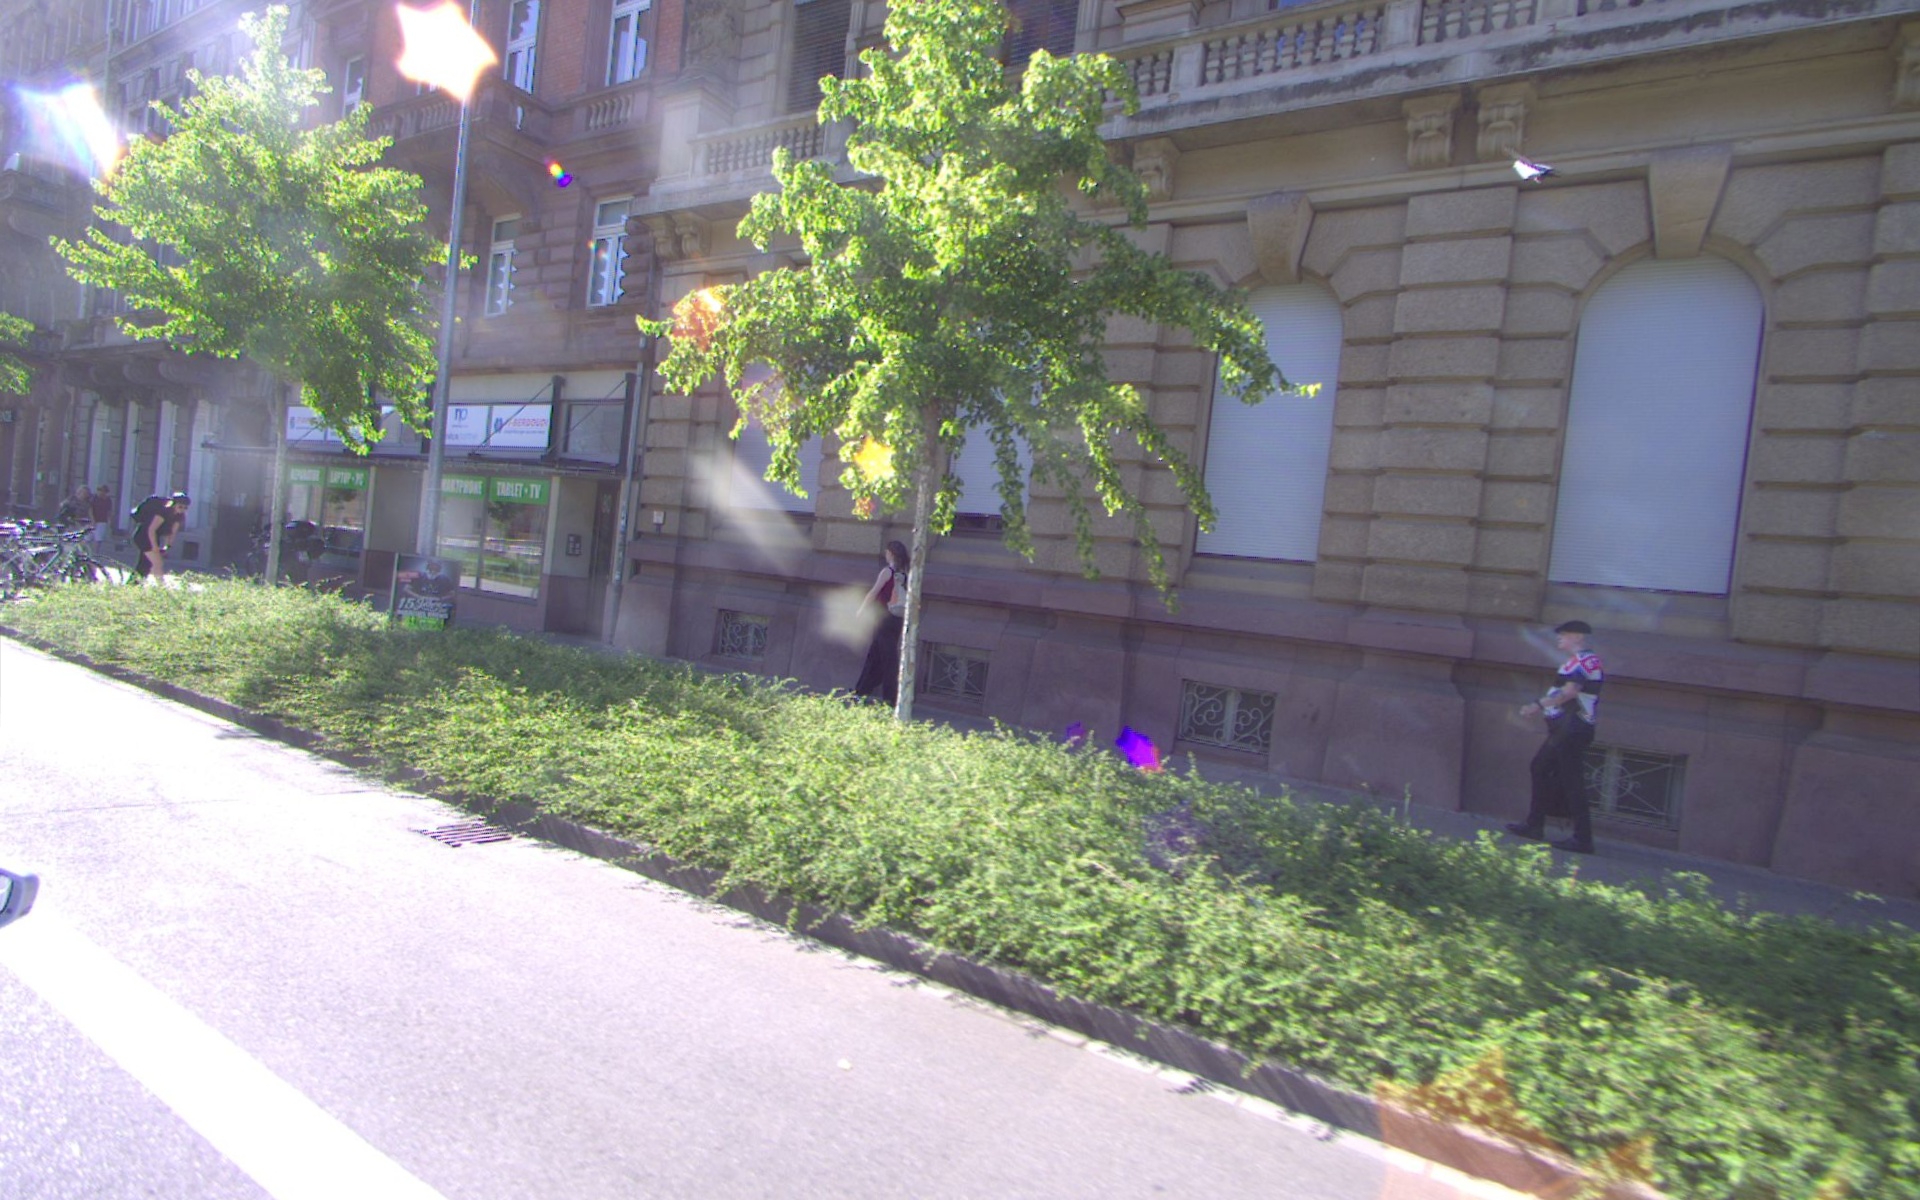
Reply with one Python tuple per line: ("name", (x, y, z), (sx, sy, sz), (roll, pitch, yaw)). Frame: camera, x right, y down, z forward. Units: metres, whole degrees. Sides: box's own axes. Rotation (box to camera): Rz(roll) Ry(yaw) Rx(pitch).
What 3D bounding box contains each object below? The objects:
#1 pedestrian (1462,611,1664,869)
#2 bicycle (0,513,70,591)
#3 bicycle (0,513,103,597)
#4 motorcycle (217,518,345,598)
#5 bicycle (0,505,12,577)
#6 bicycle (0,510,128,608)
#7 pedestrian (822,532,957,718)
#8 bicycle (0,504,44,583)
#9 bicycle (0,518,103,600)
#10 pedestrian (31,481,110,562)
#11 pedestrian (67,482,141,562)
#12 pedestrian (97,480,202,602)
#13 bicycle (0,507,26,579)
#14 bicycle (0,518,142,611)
("pedestrian", (4.621, 0.998, 7.732), (1.096, 1.715, 0.969), (7, 3, 34))
("bicycle", (-14.410, -0.728, 14.597), (0.477, 1.117, 2.290), (6, 2, 18))
("bicycle", (-13.364, -0.645, 14.111), (0.428, 1.123, 1.978), (6, 2, 29))
("motorcycle", (-13.298, -0.836, 19.662), (2.932, 1.281, 0.867), (6, -1, 32))
("bicycle", (-15.972, -0.951, 15.479), (0.473, 1.140, 1.975), (8, 4, 27))
("bicycle", (-12.210, -0.540, 13.252), (0.367, 1.194, 1.868), (6, 1, 29))
("pedestrian", (-0.804, 0.268, 11.460), (1.081, 1.946, 0.888), (7, 3, 37))
("bicycle", (-14.759, -0.847, 14.656), (0.421, 1.171, 2.150), (6, 3, 19))
("bicycle", (-13.106, -0.586, 13.894), (0.561, 1.069, 1.817), (6, 2, 26))
("pedestrian", (-19.367, -1.702, 21.912), (1.062, 1.587, 0.951), (8, 3, 32))
("pedestrian", (-19.511, -1.769, 22.931), (0.976, 1.661, 0.971), (8, 3, 32))
("pedestrian", (-12.419, -0.897, 15.434), (0.885, 1.760, 0.848), (4, 4, 1))
("bicycle", (-15.631, -0.919, 15.269), (0.600, 1.122, 2.045), (6, 3, 26))
("bicycle", (-11.912, -0.449, 13.085), (0.509, 1.123, 1.894), (6, 2, 27))
